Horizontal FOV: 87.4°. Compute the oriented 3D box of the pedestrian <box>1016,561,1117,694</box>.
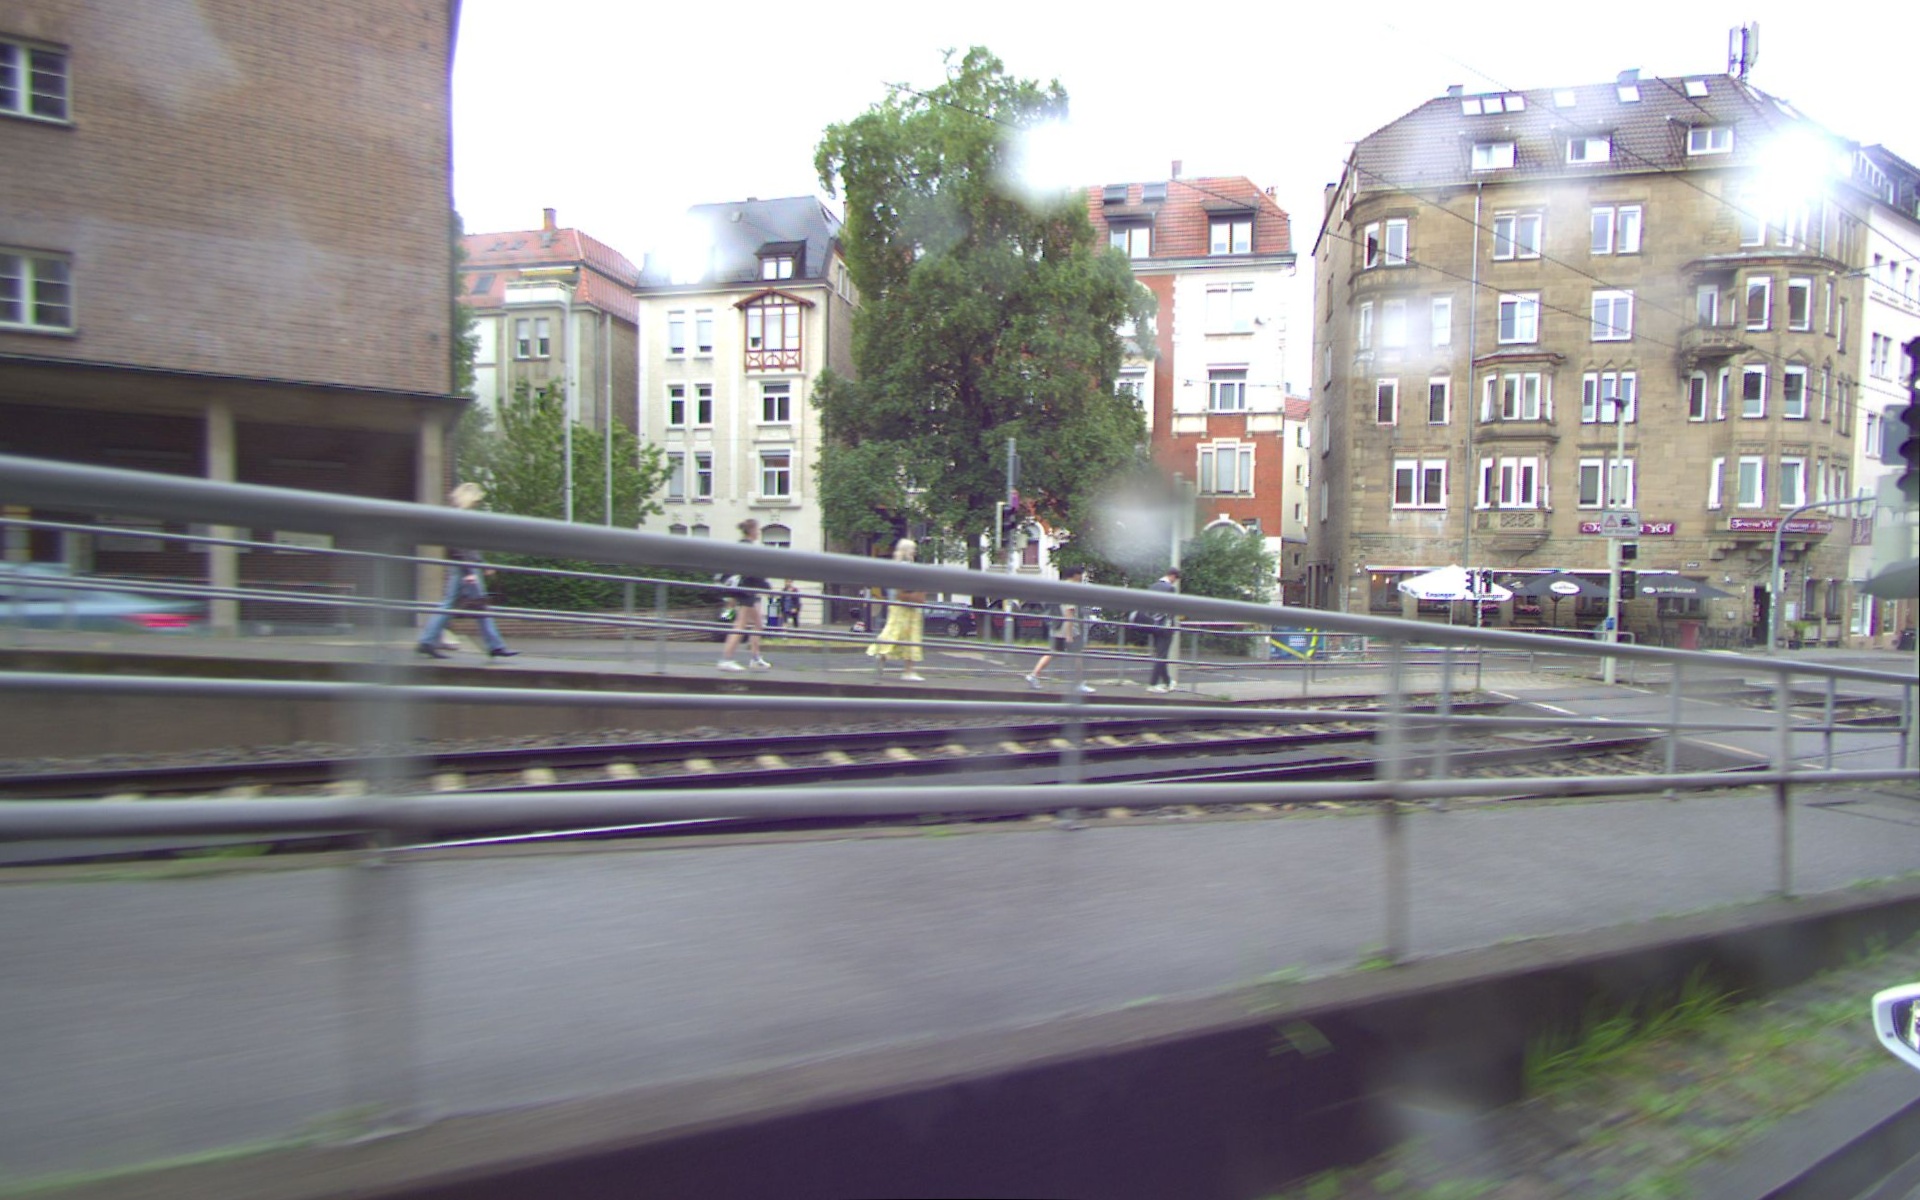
[{"bbox_3d":[1.353,0.341,12.807,0.945,1.604,0.689,2,4,-30],"label":"pedestrian"}]

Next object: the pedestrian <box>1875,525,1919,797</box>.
[{"bbox_3d":[7.711,0.471,7.580,0.936,2.041,0.892,1,1,-30],"label":"pedestrian"}]

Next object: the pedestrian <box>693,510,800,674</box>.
[{"bbox_3d":[-2.371,-0.084,11.130,0.873,1.718,0.740,4,1,-30],"label":"pedestrian"}]

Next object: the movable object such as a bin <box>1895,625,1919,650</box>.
[{"bbox_3d":[44.391,1.743,46.978,0.679,1.088,0.709,1,4,-30],"label":"movable object such as a bin"}]

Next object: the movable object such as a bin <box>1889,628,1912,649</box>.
[{"bbox_3d":[43.705,1.804,46.670,0.553,0.923,0.590,1,4,-30],"label":"movable object such as a bin"}]

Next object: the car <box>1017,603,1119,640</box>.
[{"bbox_3d":[4.574,0.885,42.349,4.083,1.421,1.743,1,-1,12],"label":"car"}]

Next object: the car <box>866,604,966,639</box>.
[{"bbox_3d":[-1.897,0.947,43.988,4.059,1.421,1.743,1,-1,12],"label":"car"}]

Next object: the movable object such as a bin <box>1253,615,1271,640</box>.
[{"bbox_3d":[13.169,1.195,43.800,0.540,1.056,0.722,1,0,1],"label":"movable object such as a bin"}]

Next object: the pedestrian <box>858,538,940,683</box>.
[{"bbox_3d":[-0.744,0.120,12.104,0.633,1.669,0.740,3,0,-30],"label":"pedestrian"}]

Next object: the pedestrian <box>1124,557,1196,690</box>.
[{"bbox_3d":[2.835,0.334,14.272,0.790,1.842,0.508,2,1,-30],"label":"pedestrian"}]

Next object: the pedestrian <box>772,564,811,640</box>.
[{"bbox_3d":[-3.876,0.053,23.136,0.681,1.697,0.600,1,0,-33],"label":"pedestrian"}]

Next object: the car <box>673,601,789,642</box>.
[{"bbox_3d":[-8.667,0.797,38.106,3.919,1.421,1.743,1,-1,12],"label":"car"}]

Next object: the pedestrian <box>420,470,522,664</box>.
[{"bbox_3d":[-4.632,-0.301,9.509,0.681,1.721,0.660,4,0,-33],"label":"pedestrian"}]

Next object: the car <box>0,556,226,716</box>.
[{"bbox_3d":[-10.213,0.312,9.819,4.708,1.517,1.635,1,0,-30],"label":"car"}]

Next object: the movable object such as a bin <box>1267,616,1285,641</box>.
[{"bbox_3d":[13.751,1.225,43.771,0.540,1.056,0.722,1,0,1],"label":"movable object such as a bin"}]
